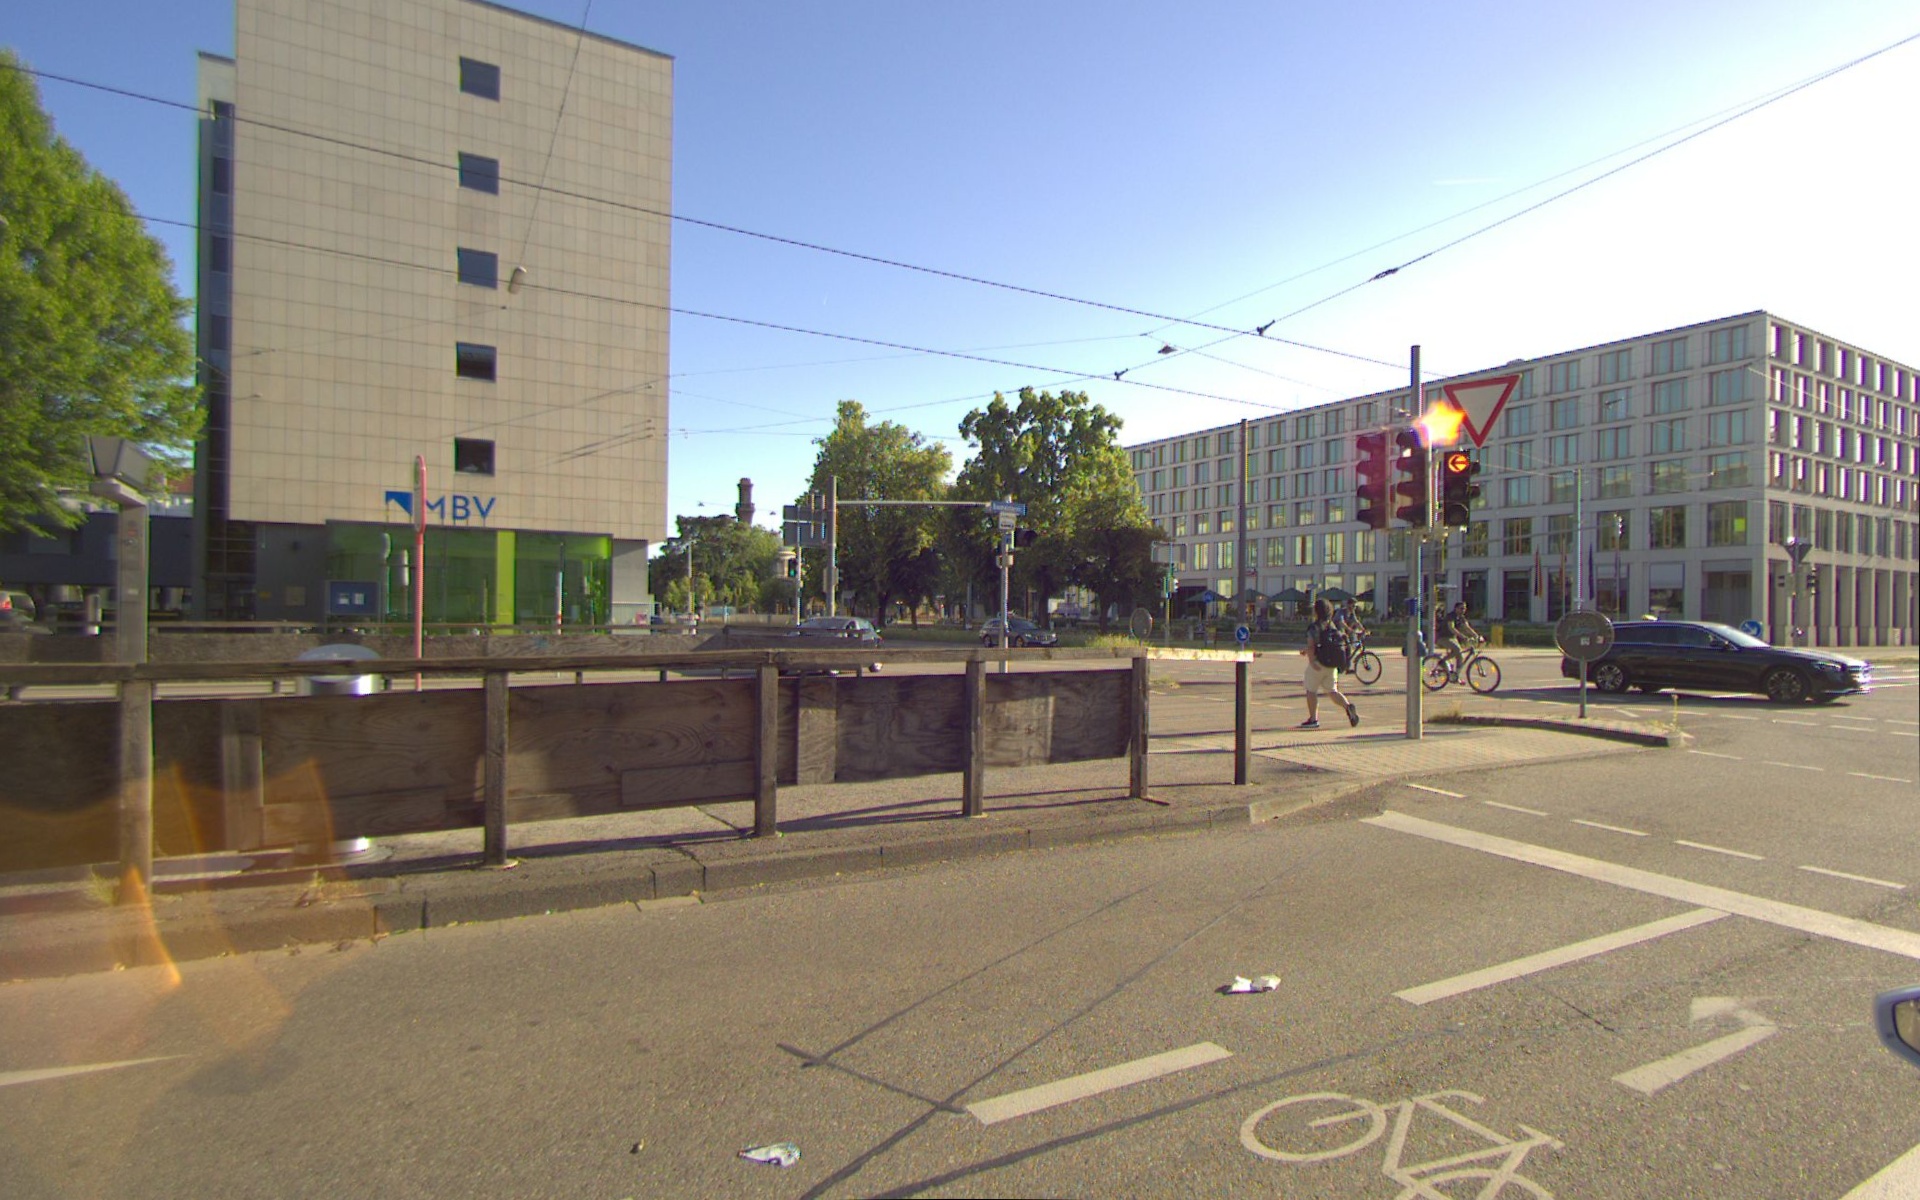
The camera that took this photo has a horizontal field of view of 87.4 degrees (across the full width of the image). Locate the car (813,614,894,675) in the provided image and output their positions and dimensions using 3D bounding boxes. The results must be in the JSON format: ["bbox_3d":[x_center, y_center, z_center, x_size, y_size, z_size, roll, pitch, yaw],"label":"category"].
[{"bbox_3d":[-2.956,1.204,28.603,1.745,1.615,4.287,0,-1,1],"label":"car"}]

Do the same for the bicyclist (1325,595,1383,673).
[{"bbox_3d":[8.894,0.765,22.667,0.833,1.717,0.887,1,-1,-24],"label":"bicyclist"}]

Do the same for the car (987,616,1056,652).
[{"bbox_3d":[2.840,1.574,47.256,1.505,1.526,3.511,1,0,-32],"label":"car"}]

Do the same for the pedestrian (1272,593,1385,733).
[{"bbox_3d":[4.840,0.799,13.212,1.027,1.743,1.030,1,-1,-41],"label":"pedestrian"}]

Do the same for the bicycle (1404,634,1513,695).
[{"bbox_3d":[10.049,1.278,20.318,0.779,1.137,1.918,1,-1,-24],"label":"bicycle"}]

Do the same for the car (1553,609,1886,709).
[{"bbox_3d":[14.626,1.047,19.697,1.911,1.678,4.878,1,-1,-29],"label":"car"}]

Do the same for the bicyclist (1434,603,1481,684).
[{"bbox_3d":[10.028,0.864,20.242,0.586,1.603,0.617,1,-1,-24],"label":"bicyclist"}]

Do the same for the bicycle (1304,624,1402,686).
[{"bbox_3d":[8.857,1.210,22.713,0.874,1.305,2.042,1,-1,-24],"label":"bicycle"}]

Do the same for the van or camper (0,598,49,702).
[{"bbox_3d":[-15.795,0.714,14.607,3.491,1.522,1.586,3,-4,-34],"label":"van or camper"}]
